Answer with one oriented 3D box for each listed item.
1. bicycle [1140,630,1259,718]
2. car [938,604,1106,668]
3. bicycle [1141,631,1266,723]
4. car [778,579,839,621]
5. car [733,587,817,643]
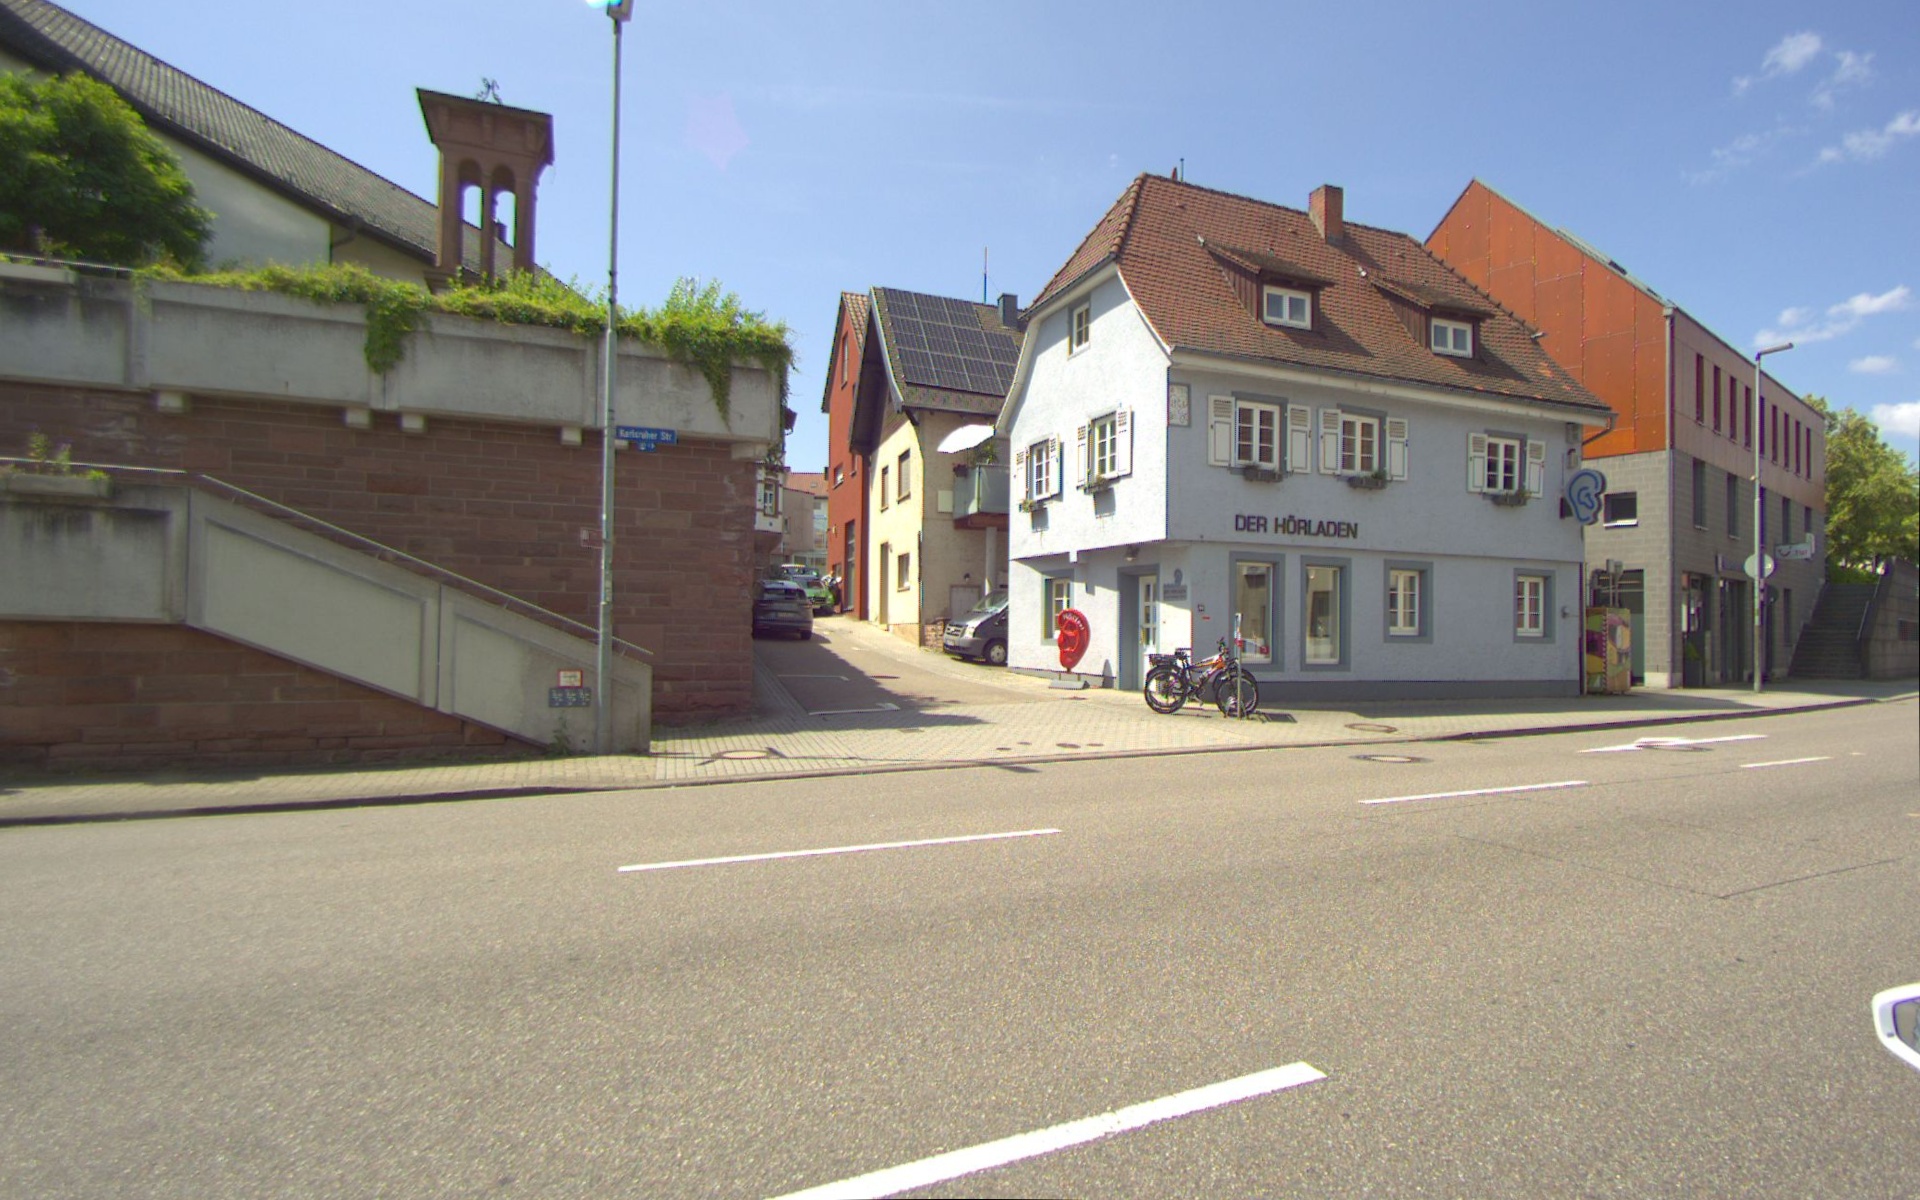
[{"bbox_3d":[3.830,1.169,16.088,1.794,1.266,0.579,2,2,15],"label":"bicycle"},{"bbox_3d":[1.546,0.906,25.801,3.930,1.503,1.862,2,-1,-12],"label":"car"},{"bbox_3d":[3.730,1.156,15.442,1.794,1.266,0.579,2,2,15],"label":"bicycle"},{"bbox_3d":[-6.095,-0.045,40.064,1.739,1.379,3.983,1,4,-18],"label":"car"},{"bbox_3d":[-5.525,0.421,29.652,1.954,1.541,3.984,1,0,-18],"label":"car"}]
